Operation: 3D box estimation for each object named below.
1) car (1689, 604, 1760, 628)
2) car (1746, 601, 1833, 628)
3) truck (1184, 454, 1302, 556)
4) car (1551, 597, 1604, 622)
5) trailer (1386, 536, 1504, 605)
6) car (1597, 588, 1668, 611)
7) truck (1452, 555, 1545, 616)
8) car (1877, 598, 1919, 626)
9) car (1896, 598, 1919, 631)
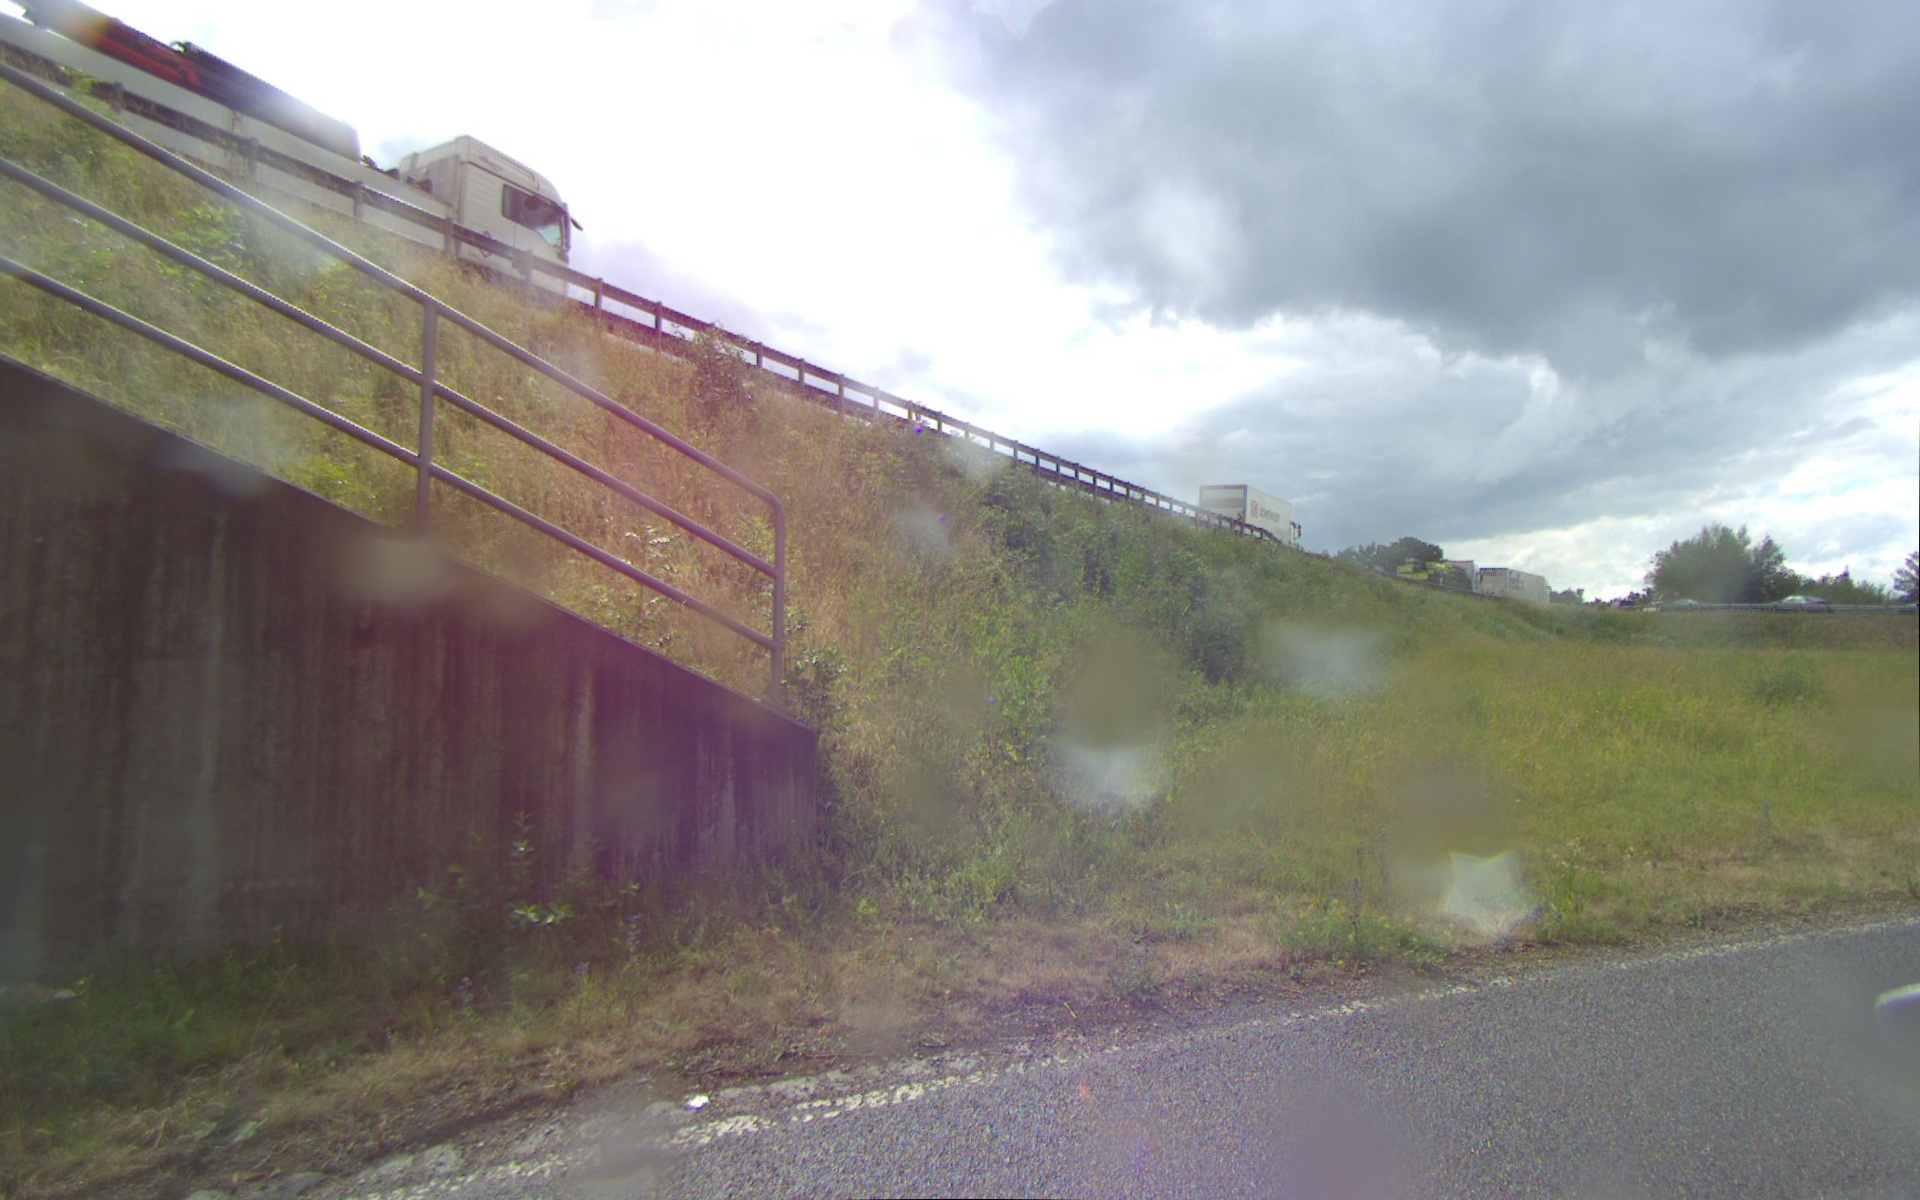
[{"bbox_3d":[65.390,1.366,85.969,1.972,1.885,4.486,2,-3,-23],"label":"car"},{"bbox_3d":[64.505,1.166,78.212,1.967,1.885,5.042,1,-3,-16],"label":"car"},{"bbox_3d":[15.397,-4.890,53.998,3.138,4.017,9.210,1,-3,35],"label":"truck"},{"bbox_3d":[55.788,0.846,90.751,3.934,2.040,1.821,1,-3,35],"label":"car"},{"bbox_3d":[42.102,-2.230,86.402,4.361,4.007,20.129,0,-4,40],"label":"trailer"},{"bbox_3d":[60.452,-0.029,90.427,1.975,1.885,5.022,2,-3,-28],"label":"car"},{"bbox_3d":[54.554,-1.200,101.278,4.408,4.561,19.291,0,-4,40],"label":"truck"},{"bbox_3d":[66.768,0.827,69.213,1.967,1.885,5.042,1,-3,-16],"label":"car"},{"bbox_3d":[67.104,0.984,68.790,1.963,2.039,3.998,-7,0,-4],"label":"car"}]
